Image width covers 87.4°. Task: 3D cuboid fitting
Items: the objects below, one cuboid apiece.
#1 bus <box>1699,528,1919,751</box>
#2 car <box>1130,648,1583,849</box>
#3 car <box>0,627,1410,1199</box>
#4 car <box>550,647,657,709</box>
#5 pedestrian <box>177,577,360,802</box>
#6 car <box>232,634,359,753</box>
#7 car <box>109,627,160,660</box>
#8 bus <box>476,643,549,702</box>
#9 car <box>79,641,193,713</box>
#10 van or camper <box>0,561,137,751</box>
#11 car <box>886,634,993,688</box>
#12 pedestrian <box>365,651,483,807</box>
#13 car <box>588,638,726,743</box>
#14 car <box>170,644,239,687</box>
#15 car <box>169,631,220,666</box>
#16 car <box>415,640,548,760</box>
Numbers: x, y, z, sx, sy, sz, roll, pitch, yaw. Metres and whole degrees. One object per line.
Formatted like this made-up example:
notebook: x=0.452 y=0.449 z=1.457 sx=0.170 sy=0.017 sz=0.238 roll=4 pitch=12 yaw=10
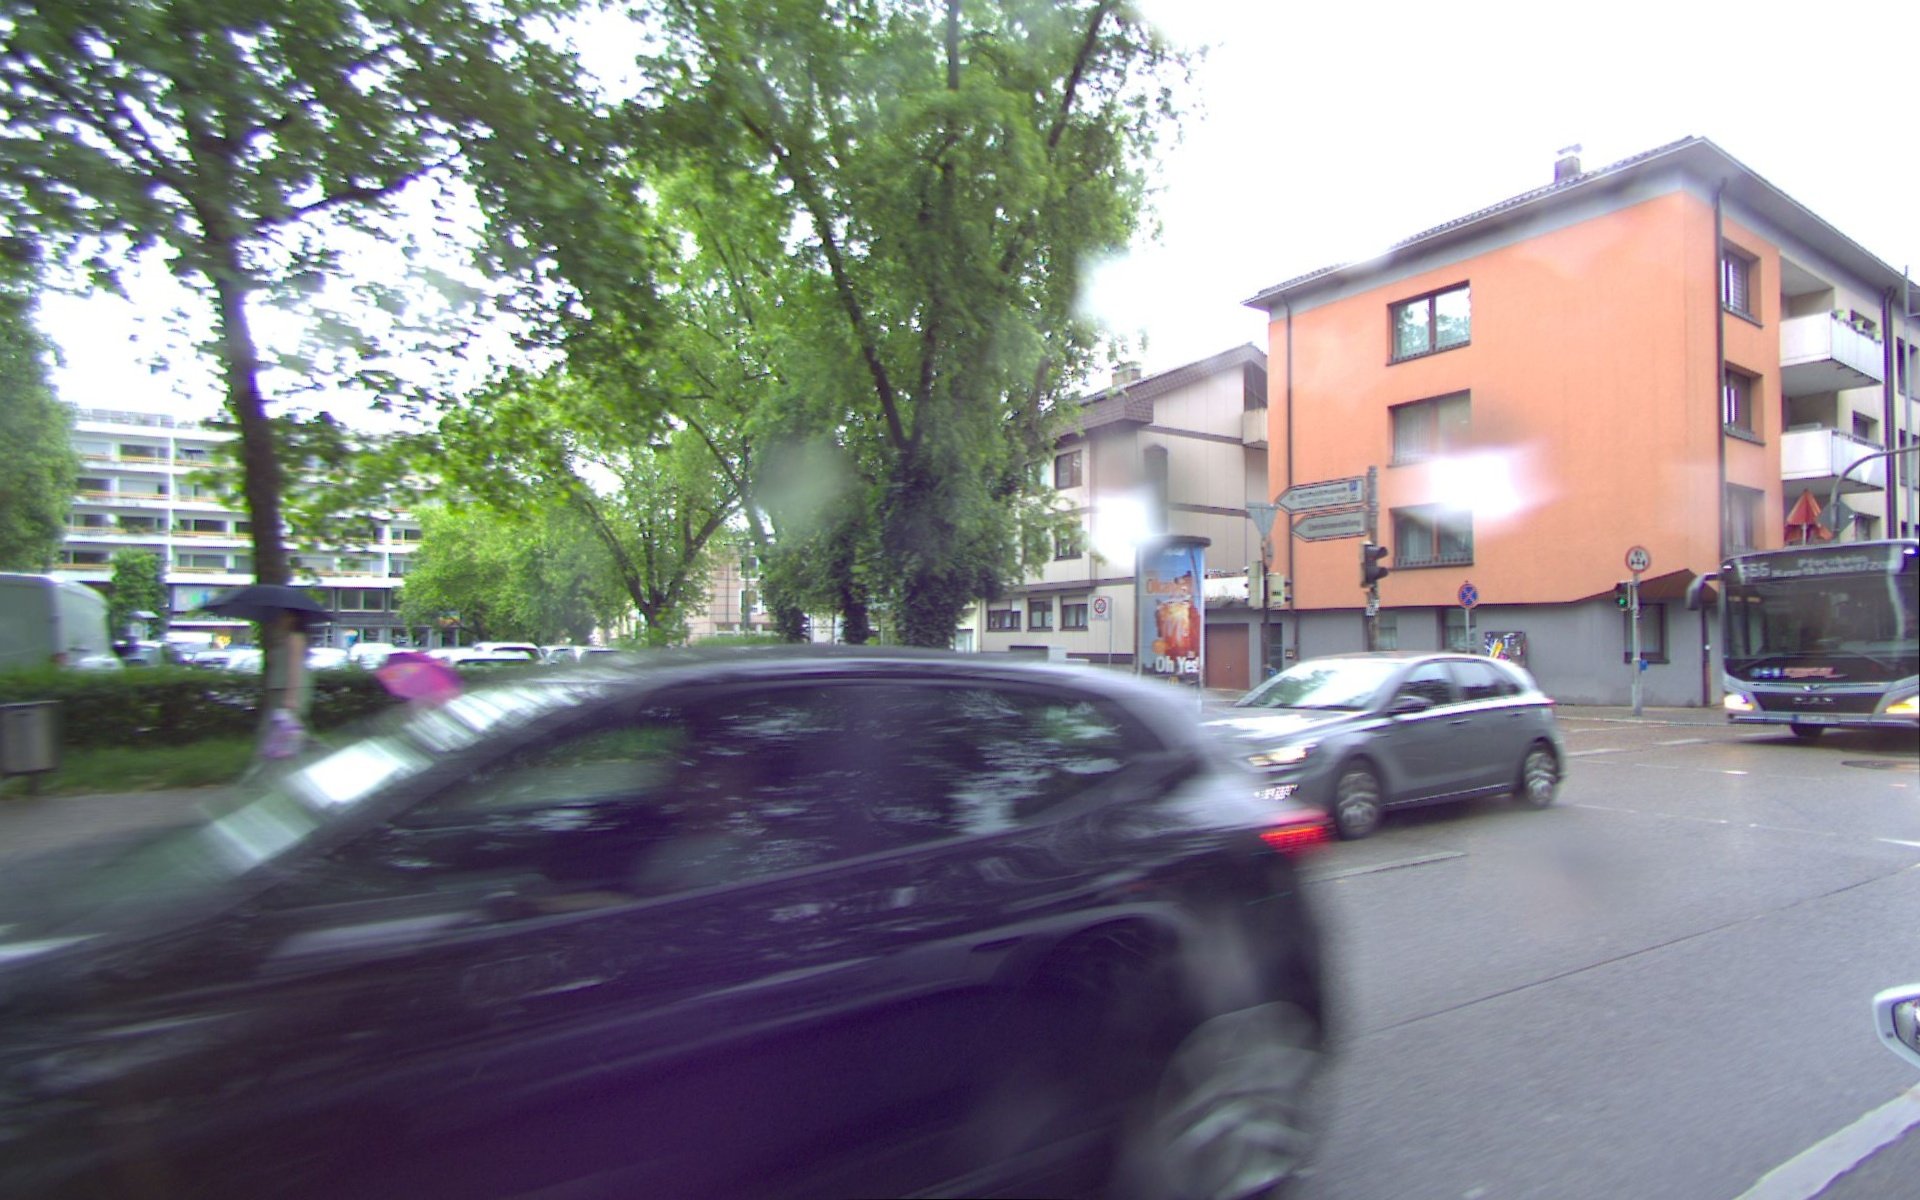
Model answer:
bus: x=17.319 y=0.740 z=17.665 sx=11.647 sy=3.013 sz=2.753 roll=2 pitch=-3 yaw=-31
car: x=3.649 y=1.175 z=9.100 sx=3.986 sy=1.435 sz=1.799 roll=1 pitch=-4 yaw=-32
car: x=-0.651 y=0.816 z=2.574 sx=3.414 sy=1.433 sz=1.617 roll=2 pitch=-3 yaw=-31
car: x=-9.635 y=2.036 z=26.966 sx=1.799 sy=1.535 sz=3.963 roll=2 pitch=-3 yaw=-34
pedestrian: x=-5.864 y=0.714 z=8.620 sx=1.196 sy=1.765 sz=0.986 roll=1 pitch=0 yaw=-31
car: x=-10.414 y=1.384 z=15.837 sx=1.492 sy=1.544 sz=3.173 roll=2 pitch=-1 yaw=-33
car: x=-42.769 y=2.246 z=52.084 sx=1.623 sy=1.544 sz=3.173 roll=2 pitch=0 yaw=-33
bus: x=-11.607 y=1.842 z=25.980 sx=1.365 sy=1.451 sz=2.776 roll=2 pitch=-3 yaw=-31
car: x=-18.115 y=1.659 z=22.204 sx=1.375 sy=1.454 sz=3.247 roll=1 pitch=-3 yaw=-30
van or camper: x=-12.594 y=0.725 z=13.317 sx=2.026 sy=2.198 sz=4.457 roll=2 pitch=-3 yaw=-33
car: x=-0.757 y=2.044 z=33.682 sx=1.976 sy=1.683 sz=3.970 roll=2 pitch=-4 yaw=-29
pedestrian: x=-4.462 y=1.032 z=8.353 sx=0.817 sy=1.190 sz=0.680 roll=1 pitch=0 yaw=-31
car: x=-5.425 y=1.521 z=17.764 sx=1.492 sy=1.544 sz=3.173 roll=2 pitch=-1 yaw=-33
car: x=-26.823 y=2.300 z=35.736 sx=1.588 sy=1.446 sz=3.292 roll=2 pitch=-3 yaw=-31
car: x=-36.767 y=2.312 z=48.298 sx=1.623 sy=1.544 sz=3.173 roll=2 pitch=-1 yaw=-33
car: x=-7.619 y=1.479 z=15.861 sx=1.492 sy=1.544 sz=3.173 roll=2 pitch=-1 yaw=-33
